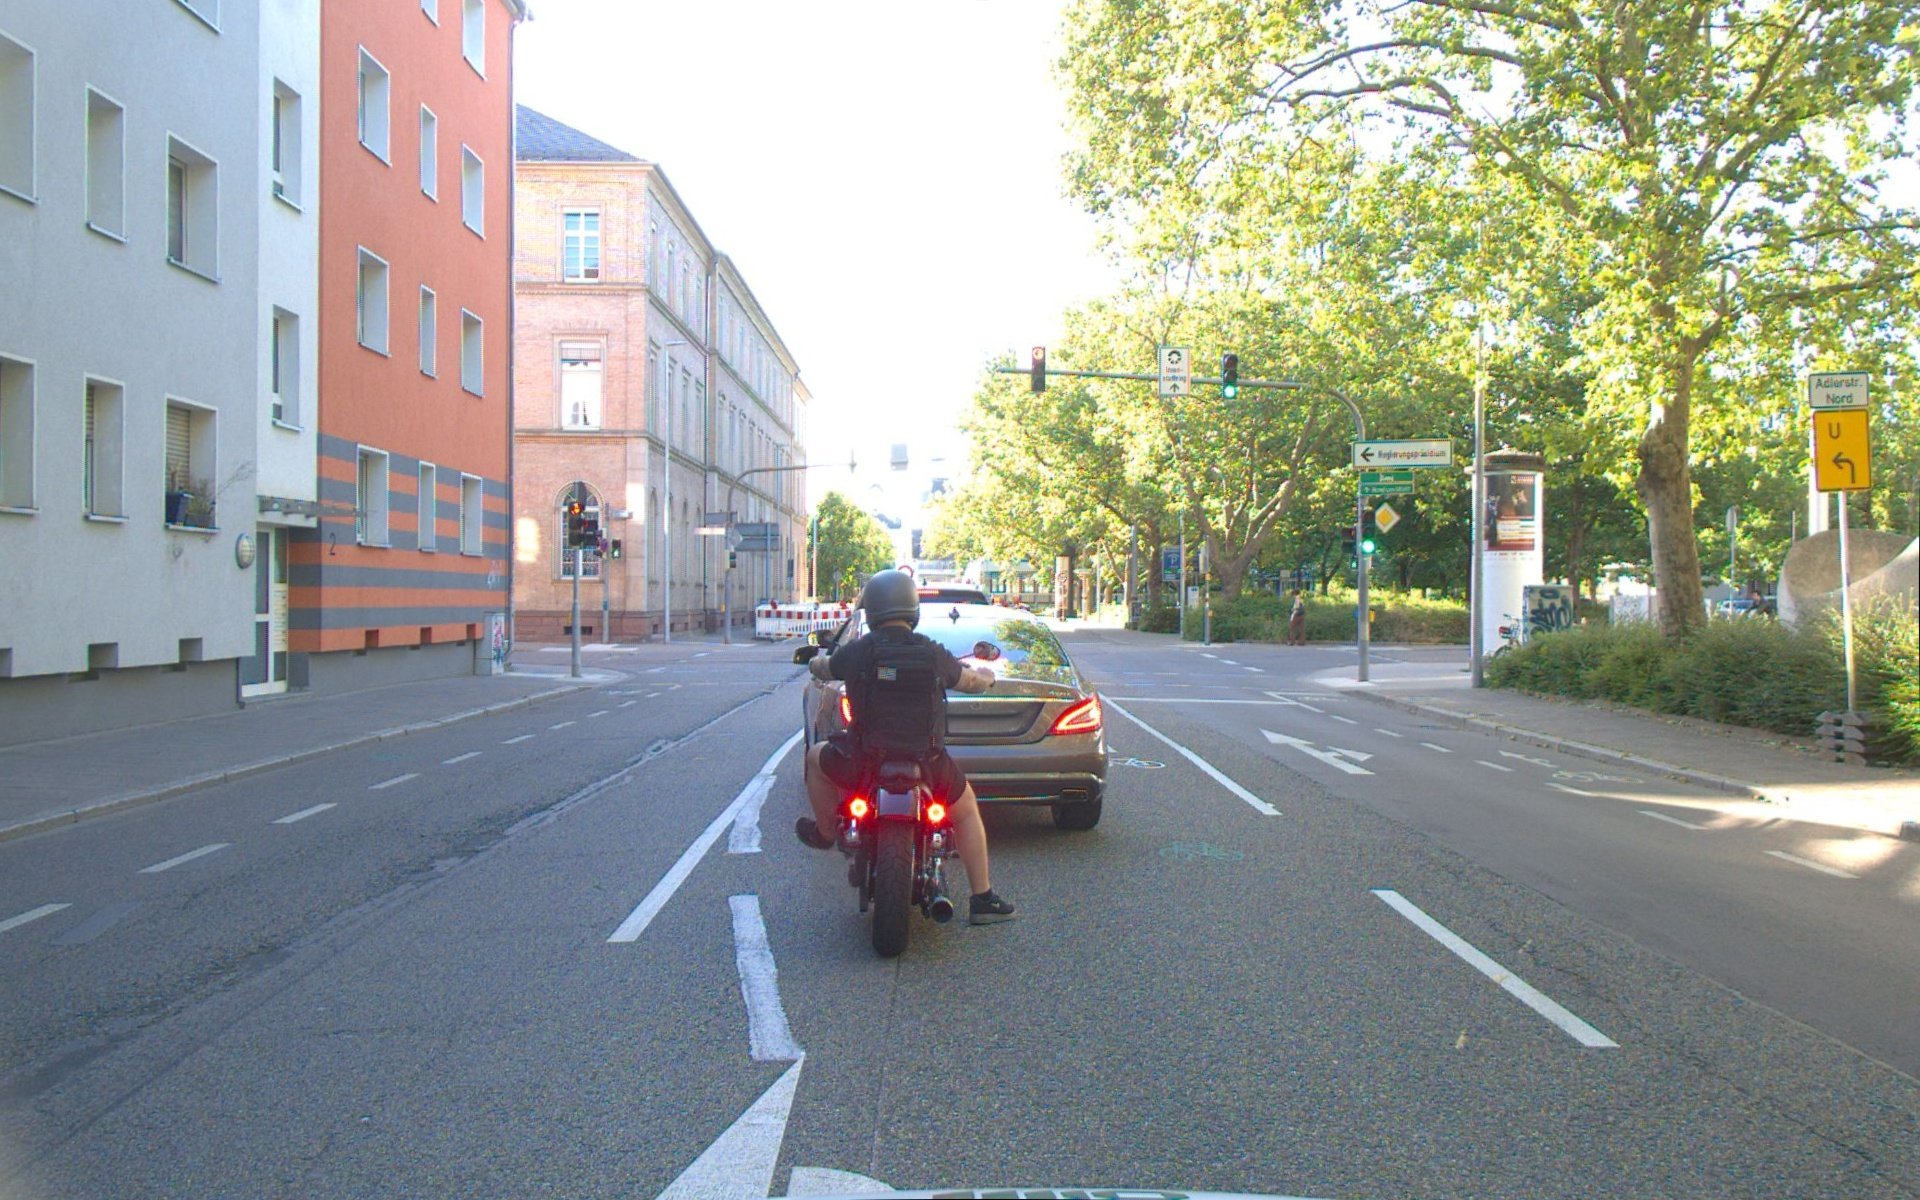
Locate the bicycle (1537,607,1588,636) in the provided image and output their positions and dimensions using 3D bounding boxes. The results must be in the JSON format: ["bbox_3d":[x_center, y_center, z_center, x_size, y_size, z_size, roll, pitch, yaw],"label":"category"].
[{"bbox_3d":[17.825,0.627,48.937,1.340,0.814,0.512,1,0,2],"label":"bicycle"}]

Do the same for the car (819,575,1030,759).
[{"bbox_3d":[-0.361,0.634,17.525,1.953,1.695,3.999,1,0,-1],"label":"car"}]

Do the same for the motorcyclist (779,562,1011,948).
[{"bbox_3d":[-0.279,0.644,7.513,0.961,1.606,1.248,0,0,-1],"label":"motorcyclist"}]

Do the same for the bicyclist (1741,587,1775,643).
[{"bbox_3d":[23.606,0.443,48.934,0.715,1.610,0.597,1,-1,5],"label":"bicyclist"}]

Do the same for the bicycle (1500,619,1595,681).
[{"bbox_3d":[9.788,0.837,27.582,1.452,0.997,0.299,1,-1,5],"label":"bicycle"}]

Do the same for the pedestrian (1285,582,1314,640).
[{"bbox_3d":[10.695,0.358,52.129,0.666,1.803,0.614,1,-1,37],"label":"pedestrian"}]

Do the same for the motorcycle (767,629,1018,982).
[{"bbox_3d":[-0.276,0.808,7.543,0.961,1.297,2.407,0,0,-1],"label":"motorcycle"}]

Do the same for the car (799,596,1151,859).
[{"bbox_3d":[-0.113,0.711,11.606,1.834,1.469,4.422,0,0,-8],"label":"car"}]

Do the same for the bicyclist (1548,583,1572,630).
[{"bbox_3d":[17.738,0.204,48.935,0.511,1.371,0.543,1,-1,2],"label":"bicyclist"}]
